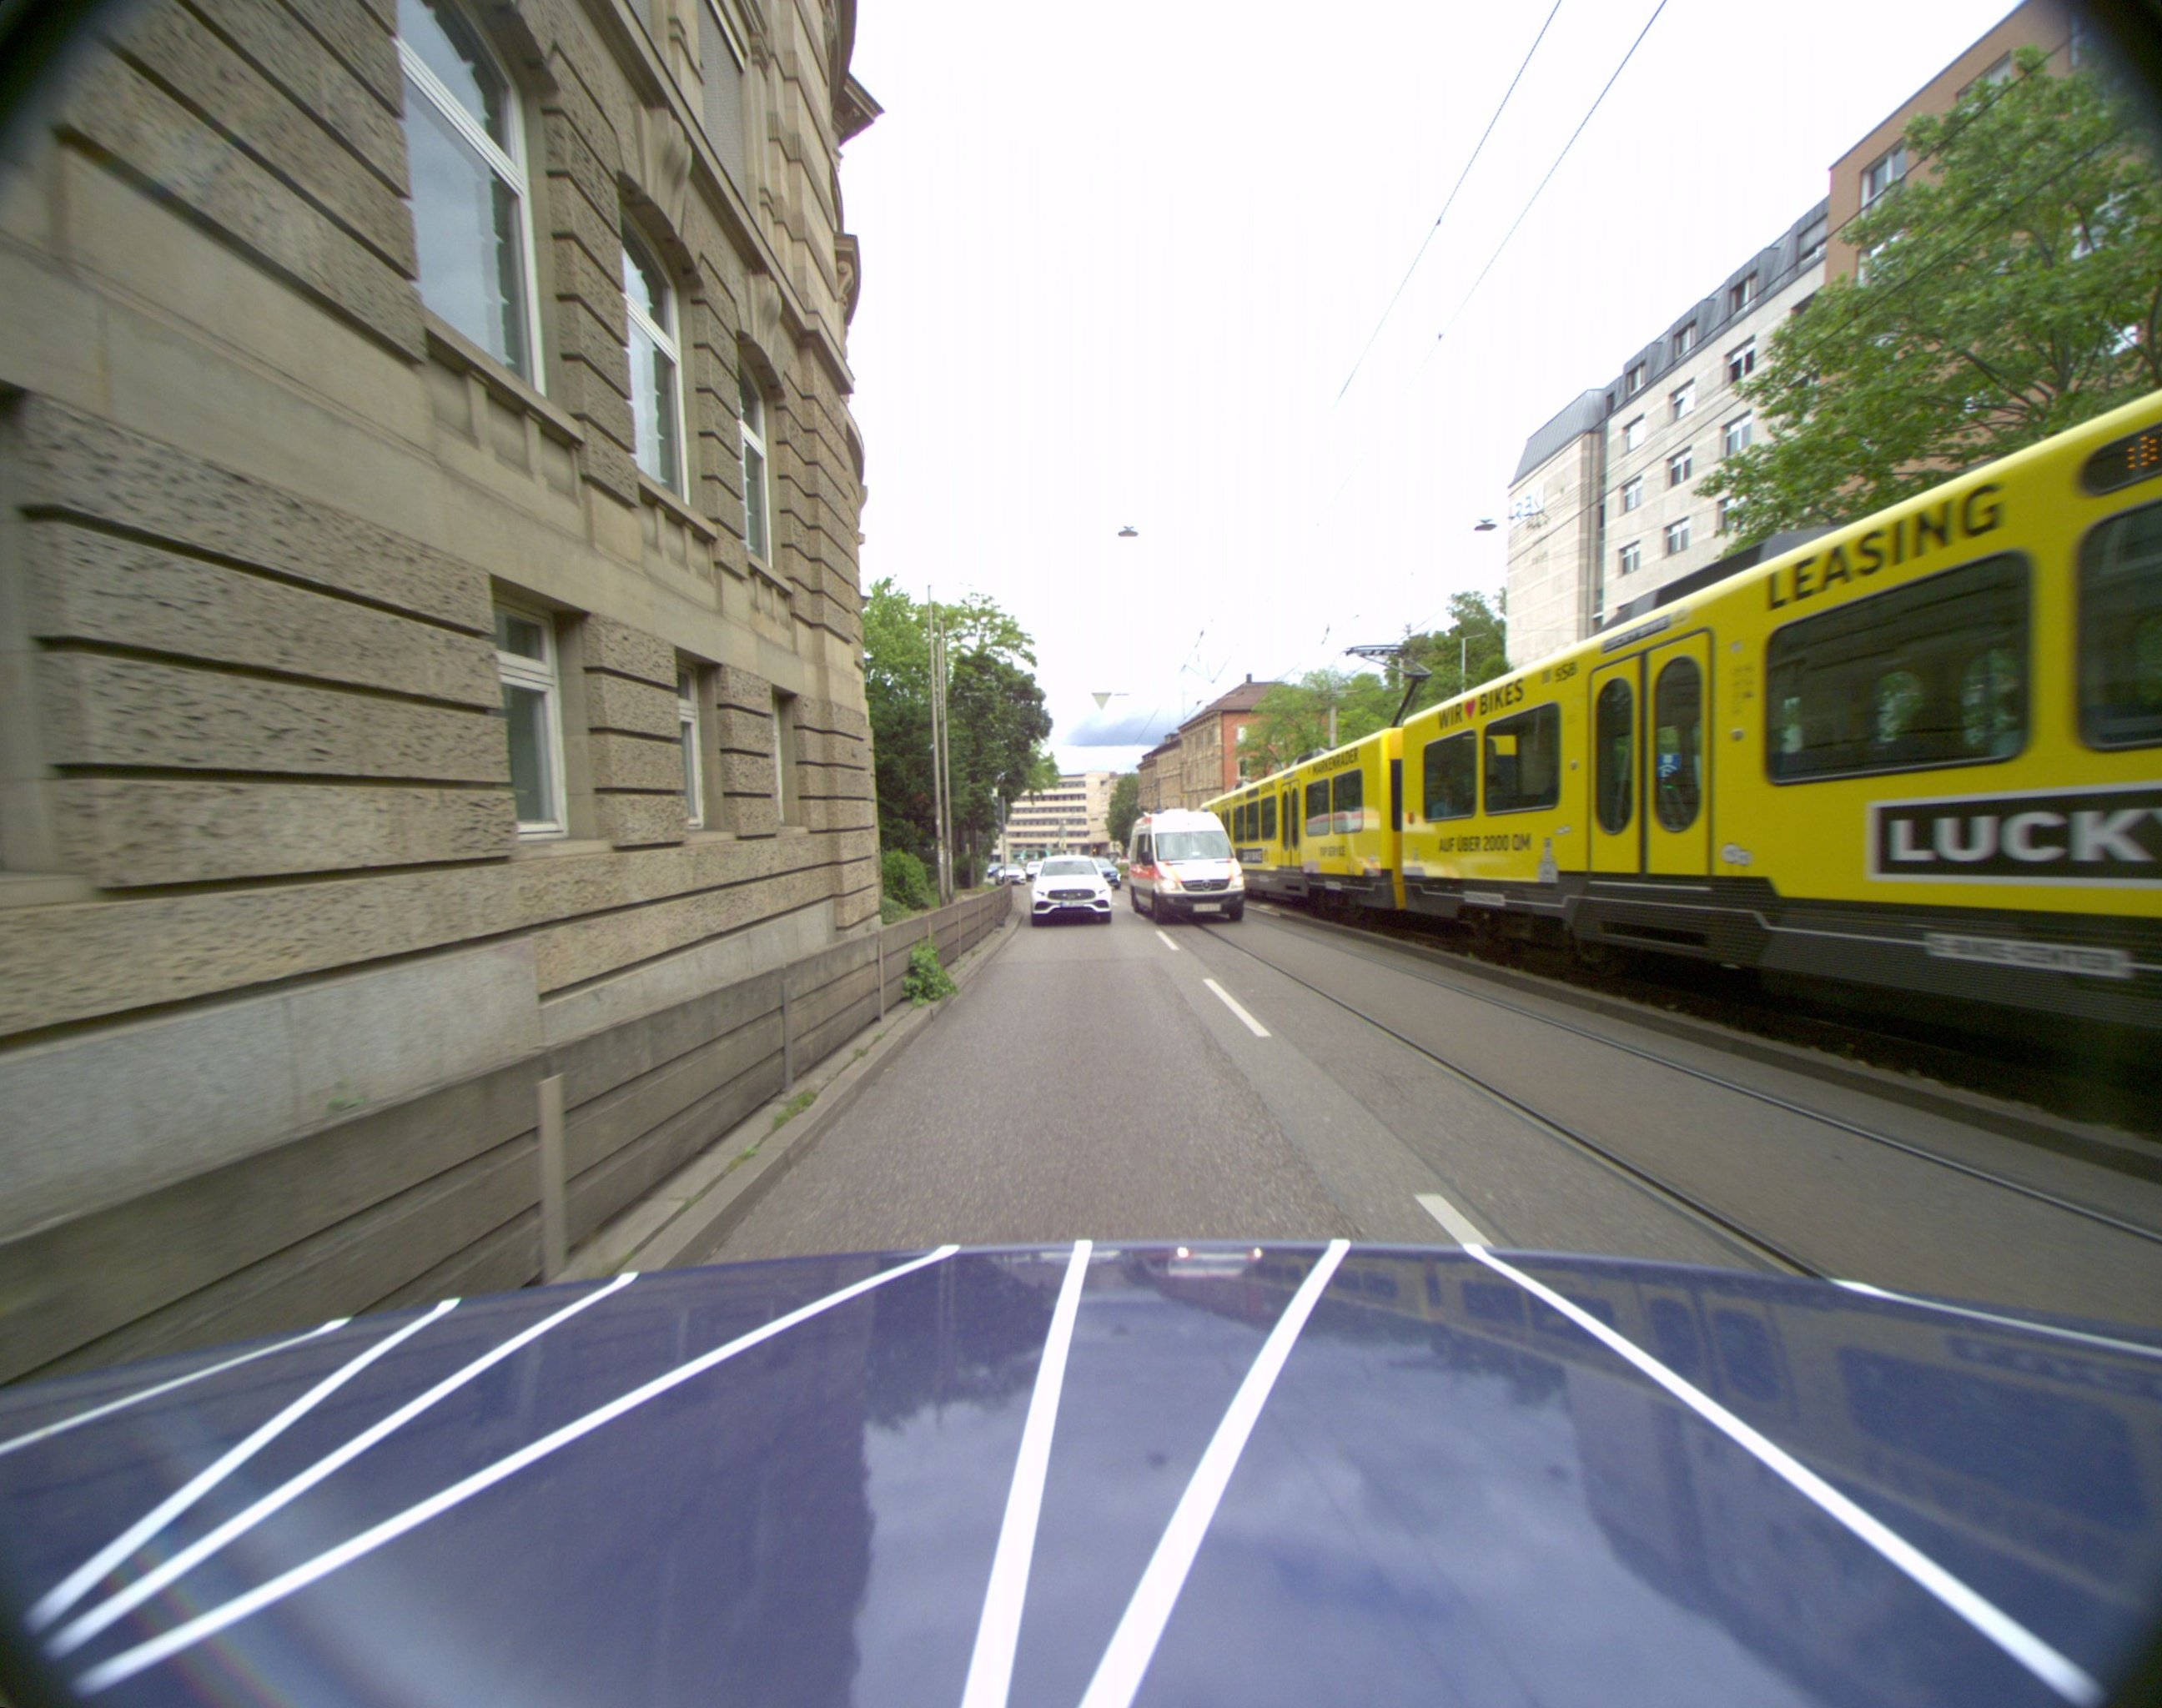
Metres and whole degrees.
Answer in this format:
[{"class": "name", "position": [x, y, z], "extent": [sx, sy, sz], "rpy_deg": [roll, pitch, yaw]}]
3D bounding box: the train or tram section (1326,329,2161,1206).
[{"class": "train or tram section", "position": [6.031, -0.404, 4.841], "extent": [2.883, 3.704, 18.702], "rpy_deg": [-3, 0, 1]}]

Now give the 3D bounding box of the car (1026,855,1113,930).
[{"class": "car", "position": [-0.287, 0.884, 19.278], "extent": [1.894, 1.609, 4.478], "rpy_deg": [-2, 0, -1]}]

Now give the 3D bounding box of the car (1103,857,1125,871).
[{"class": "car", "position": [4.188, 1.245, 96.229], "extent": [2.000, 1.657, 3.998], "rpy_deg": [-3, 0, -7]}]

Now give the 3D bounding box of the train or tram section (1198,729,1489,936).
[{"class": "train or tram section", "position": [6.064, -0.383, 21.639], "extent": [2.890, 3.704, 14.855], "rpy_deg": [-3, 0, 0]}]

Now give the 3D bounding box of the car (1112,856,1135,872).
[{"class": "car", "position": [5.093, 1.181, 90.931], "extent": [2.000, 1.657, 3.998], "rpy_deg": [-3, 0, -7]}]

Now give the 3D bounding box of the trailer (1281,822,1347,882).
[{"class": "trailer", "position": [12.747, -0.097, 41.930], "extent": [2.024, 2.955, 5.590], "rpy_deg": [-3, 0, 3]}]

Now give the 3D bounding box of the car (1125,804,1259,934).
[{"class": "car", "position": [2.526, 0.345, 19.032], "extent": [2.039, 2.684, 5.852], "rpy_deg": [-2, 0, -4]}]

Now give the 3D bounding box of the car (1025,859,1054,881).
[{"class": "car", "position": [-3.229, 1.217, 58.951], "extent": [1.999, 1.543, 4.315], "rpy_deg": [-3, 0, -5]}]

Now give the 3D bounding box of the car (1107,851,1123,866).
[{"class": "car", "position": [5.172, 0.687, 116.816], "extent": [1.872, 2.249, 4.748], "rpy_deg": [-1, 0, -4]}]

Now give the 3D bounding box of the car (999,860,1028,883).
[{"class": "car", "position": [-4.467, 1.139, 50.936], "extent": [1.823, 1.440, 3.852], "rpy_deg": [-1, -1, -4]}]

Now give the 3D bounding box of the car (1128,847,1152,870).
[{"class": "car", "position": [7.374, 0.581, 95.756], "extent": [2.215, 2.806, 4.782], "rpy_deg": [-1, 0, -6]}]

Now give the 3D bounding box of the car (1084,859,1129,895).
[{"class": "car", "position": [1.196, 1.062, 37.445], "extent": [1.931, 1.562, 4.180], "rpy_deg": [-3, 0, -1]}]
